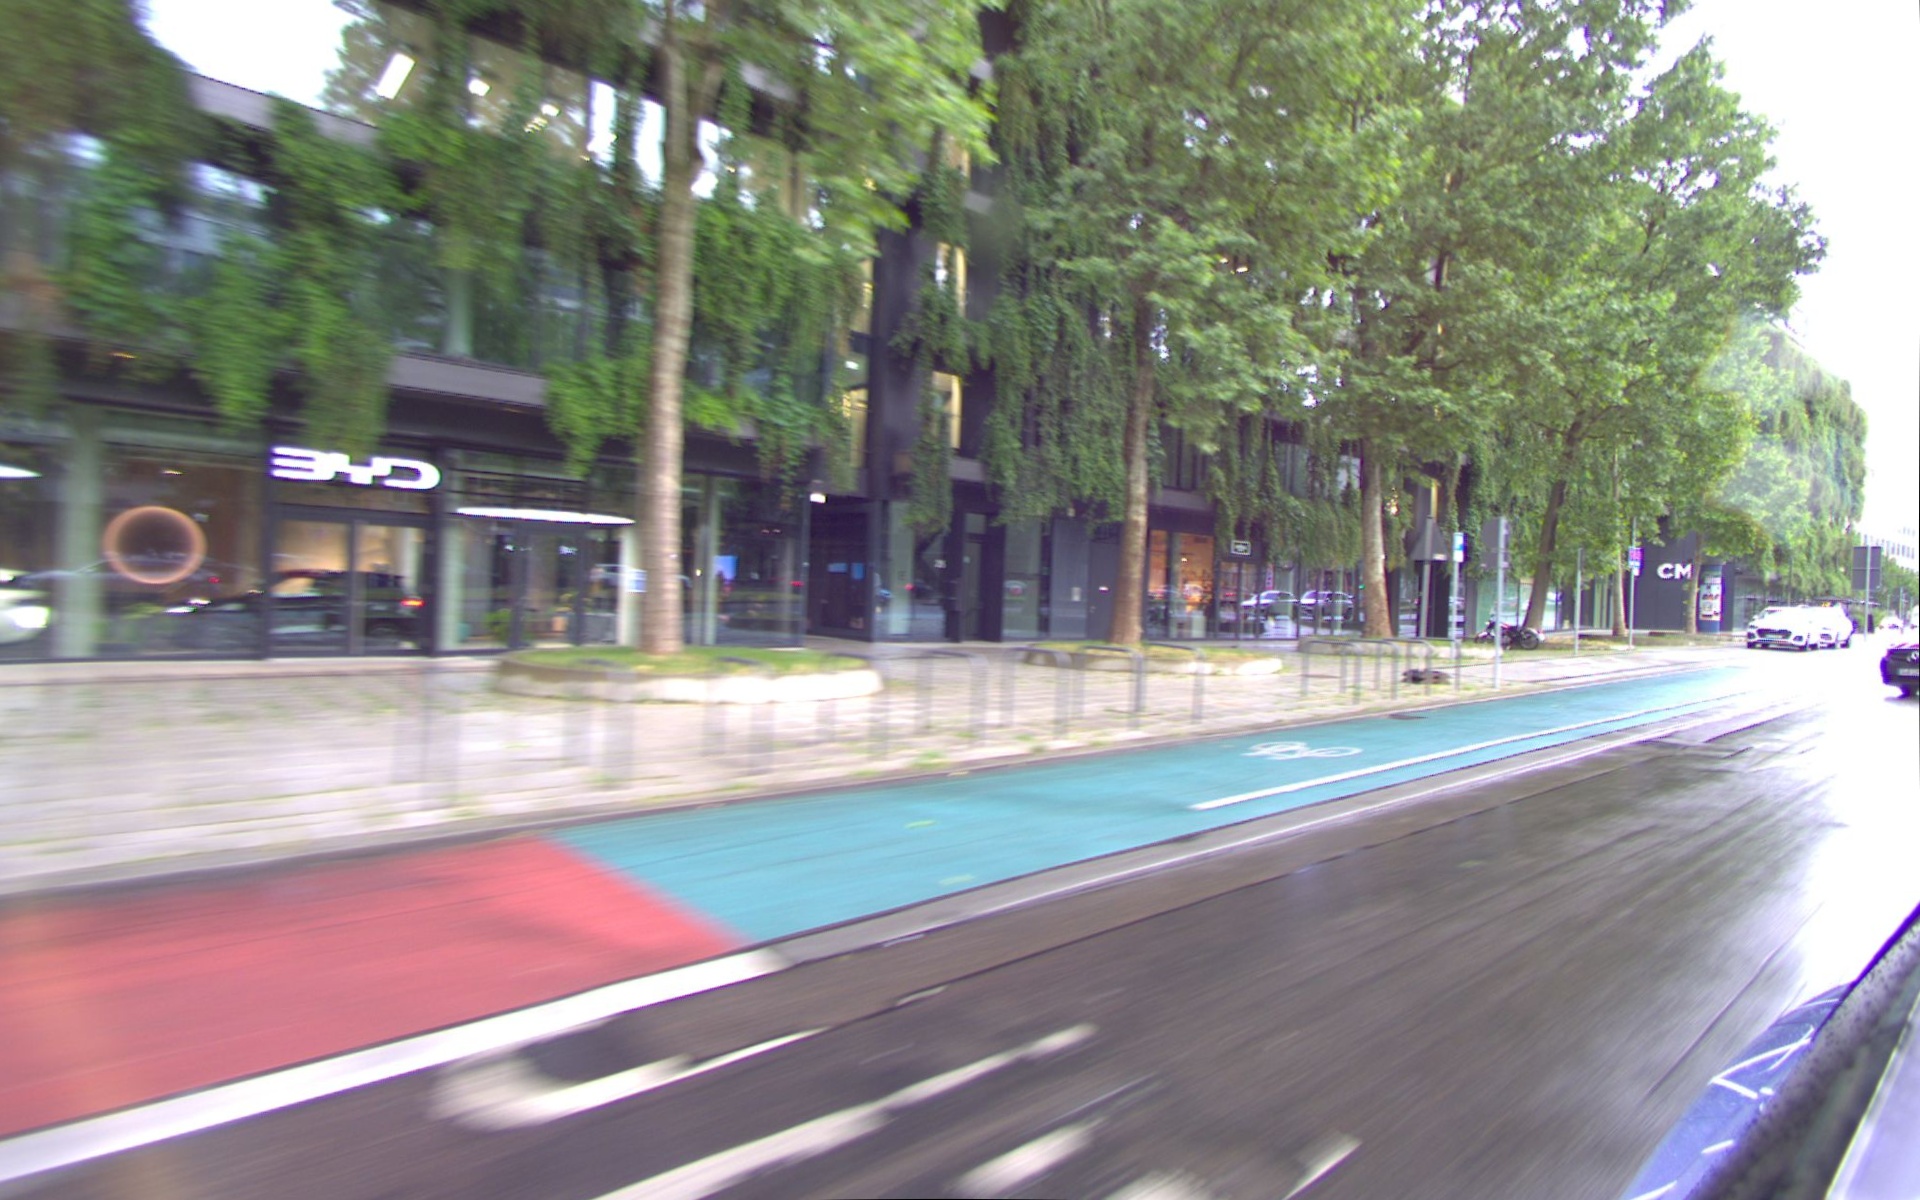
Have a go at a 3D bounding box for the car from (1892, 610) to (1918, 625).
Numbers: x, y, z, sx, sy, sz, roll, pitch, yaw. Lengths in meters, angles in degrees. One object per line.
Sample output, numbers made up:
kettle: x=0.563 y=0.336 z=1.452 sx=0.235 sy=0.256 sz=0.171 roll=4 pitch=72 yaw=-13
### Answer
car: x=106.317 y=1.979 z=113.834 sx=4.589 sy=1.572 sz=1.738 roll=1 pitch=1 yaw=-41

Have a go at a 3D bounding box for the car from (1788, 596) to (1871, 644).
car: x=37.588 y=0.854 z=43.703 sx=5.002 sy=1.861 sz=1.848 roll=1 pitch=1 yaw=-40

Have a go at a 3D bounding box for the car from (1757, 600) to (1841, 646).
car: x=33.012 y=0.898 z=39.779 sx=4.703 sy=1.653 sz=1.846 roll=1 pitch=0 yaw=-42

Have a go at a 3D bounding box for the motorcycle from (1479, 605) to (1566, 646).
motorcycle: x=18.645 y=0.826 z=33.570 sx=1.034 sy=1.286 sz=2.310 roll=1 pitch=-1 yaw=-42

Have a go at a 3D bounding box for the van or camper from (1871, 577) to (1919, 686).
van or camper: x=19.670 y=0.617 z=18.124 sx=5.145 sy=1.938 sz=2.002 roll=1 pitch=-2 yaw=-6
